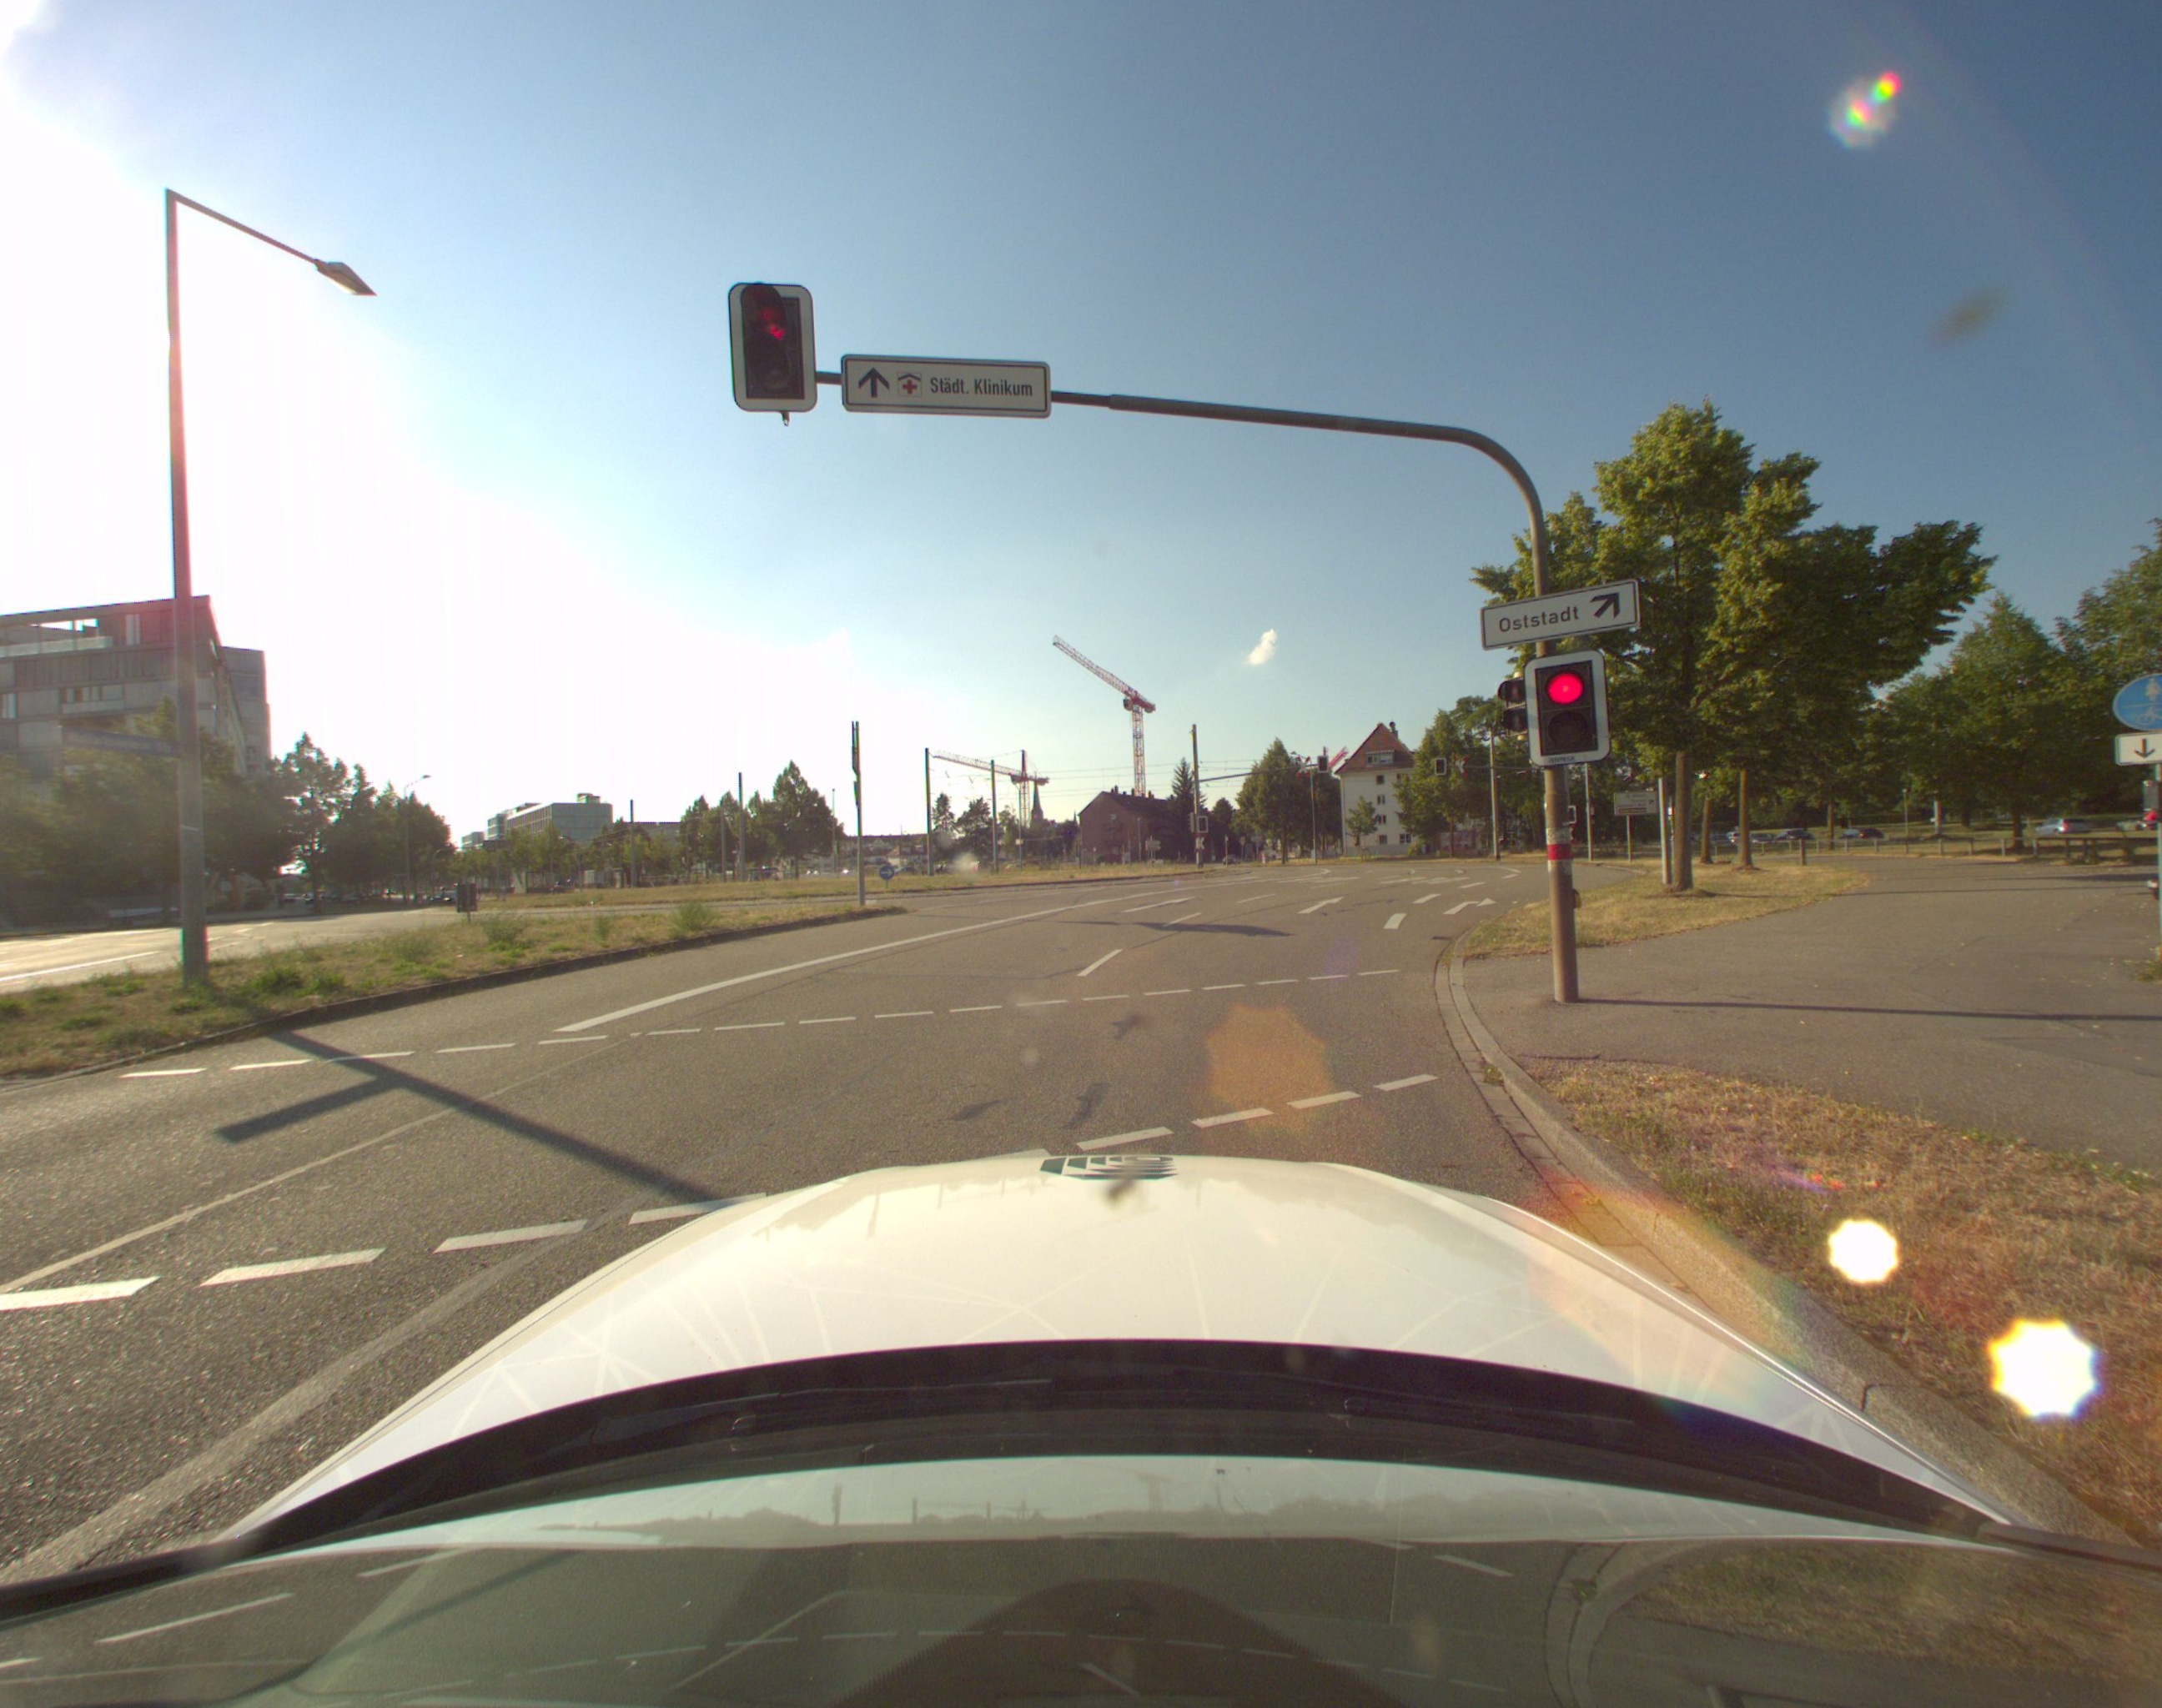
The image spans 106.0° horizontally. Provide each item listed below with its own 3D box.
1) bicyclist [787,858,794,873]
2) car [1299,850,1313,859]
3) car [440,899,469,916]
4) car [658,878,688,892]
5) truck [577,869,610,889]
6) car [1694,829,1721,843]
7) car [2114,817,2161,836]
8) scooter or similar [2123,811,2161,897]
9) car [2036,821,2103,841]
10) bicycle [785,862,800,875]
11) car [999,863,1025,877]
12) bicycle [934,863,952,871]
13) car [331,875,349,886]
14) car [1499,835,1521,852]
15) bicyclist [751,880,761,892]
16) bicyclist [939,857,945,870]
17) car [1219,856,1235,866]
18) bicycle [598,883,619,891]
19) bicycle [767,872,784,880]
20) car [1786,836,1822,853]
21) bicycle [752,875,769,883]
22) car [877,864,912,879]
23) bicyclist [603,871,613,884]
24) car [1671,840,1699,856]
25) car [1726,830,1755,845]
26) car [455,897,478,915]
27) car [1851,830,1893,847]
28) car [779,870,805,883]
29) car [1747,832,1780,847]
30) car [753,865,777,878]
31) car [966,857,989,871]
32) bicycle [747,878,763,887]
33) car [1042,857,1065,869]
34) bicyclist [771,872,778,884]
[{"bbox_3d":[-33.202,1.328,93.074,0.609,1.672,0.474,-2,-1,-23],"label":"bicyclist"},{"bbox_3d":[45.269,0.160,163.808,1.975,1.780,4.023,-1,-1,26],"label":"car"},{"bbox_3d":[-64.075,5.421,83.301,2.011,1.475,3.952,-2,0,-42],"label":"car"},{"bbox_3d":[-43.663,3.312,87.139,2.687,1.261,1.102,-2,0,-36],"label":"car"},{"bbox_3d":[-84.335,4.308,140.832,3.156,3.231,7.085,-2,0,-44],"label":"truck"},{"bbox_3d":[64.626,-1.835,84.042,1.586,1.402,3.993,-3,-1,30],"label":"car"},{"bbox_3d":[82.728,-2.142,63.041,1.804,1.403,4.023,-3,-1,26],"label":"car"},{"bbox_3d":[15.404,-0.021,11.576,1.172,1.160,0.340,-4,-3,-23],"label":"scooter or similar"},{"bbox_3d":[78.231,-1.816,64.543,1.804,1.403,4.023,-3,-1,26],"label":"car"},{"bbox_3d":[-33.030,1.667,93.120,1.546,1.473,0.476,-2,0,-24],"label":"bicycle"},{"bbox_3d":[-11.290,2.589,132.993,3.776,2.014,1.680,-3,-1,20],"label":"car"},{"bbox_3d":[-16.306,1.556,96.237,1.983,0.918,0.429,-2,0,-4],"label":"bicycle"},{"bbox_3d":[-110.337,3.921,121.208,1.800,1.556,3.950,0,-1,-45],"label":"car"},{"bbox_3d":[42.830,-1.013,81.310,1.754,1.618,3.993,-3,-1,30],"label":"car"},{"bbox_3d":[-36.611,3.603,91.628,0.958,1.357,0.688,-2,0,-24],"label":"bicyclist"},{"bbox_3d":[-16.451,1.128,96.228,0.621,1.511,0.418,-2,0,-4],"label":"bicyclist"},{"bbox_3d":[20.785,0.976,115.834,1.442,1.300,3.568,-3,0,24],"label":"car"},{"bbox_3d":[-47.098,3.309,81.219,1.732,0.744,0.474,-2,0,-45],"label":"bicycle"},{"bbox_3d":[-34.873,2.516,92.919,1.722,0.744,0.477,-2,0,-21],"label":"bicycle"},{"bbox_3d":[63.359,-0.809,71.422,1.586,1.402,3.993,-3,-1,30],"label":"car"},{"bbox_3d":[-35.268,2.735,89.609,1.622,0.860,0.541,-2,0,-24],"label":"bicycle"},{"bbox_3d":[-24.435,2.268,106.534,4.013,1.816,1.981,-2,0,-30],"label":"car"},{"bbox_3d":[-47.171,2.355,81.206,0.658,1.325,0.512,-2,0,-45],"label":"bicyclist"},{"bbox_3d":[56.077,-0.535,75.621,1.586,1.402,3.993,-3,-1,30],"label":"car"},{"bbox_3d":[67.109,-1.667,82.919,1.586,1.402,3.993,-3,-1,30],"label":"car"},{"bbox_3d":[-58.541,4.923,77.561,1.493,1.475,3.260,-2,0,-42],"label":"car"},{"bbox_3d":[67.266,-1.308,69.321,1.586,1.310,3.993,-3,-1,30],"label":"car"},{"bbox_3d":[-46.978,3.689,132.558,3.948,2.013,2.013,-3,0,36],"label":"car"},{"bbox_3d":[61.487,-1.275,73.465,1.586,1.221,3.993,-3,-1,30],"label":"car"},{"bbox_3d":[-53.349,2.938,137.508,3.948,2.013,2.013,-3,0,36],"label":"car"},{"bbox_3d":[-14.811,1.486,116.582,1.930,1.854,3.964,-2,0,-27],"label":"car"},{"bbox_3d":[-36.648,3.220,91.570,1.622,0.860,0.541,-2,0,-24],"label":"bicycle"},{"bbox_3d":[-5.006,1.628,149.568,3.776,2.014,1.680,-3,-1,20],"label":"car"},{"bbox_3d":[-35.002,2.773,92.896,0.654,1.325,0.515,-2,0,-20],"label":"bicyclist"}]
